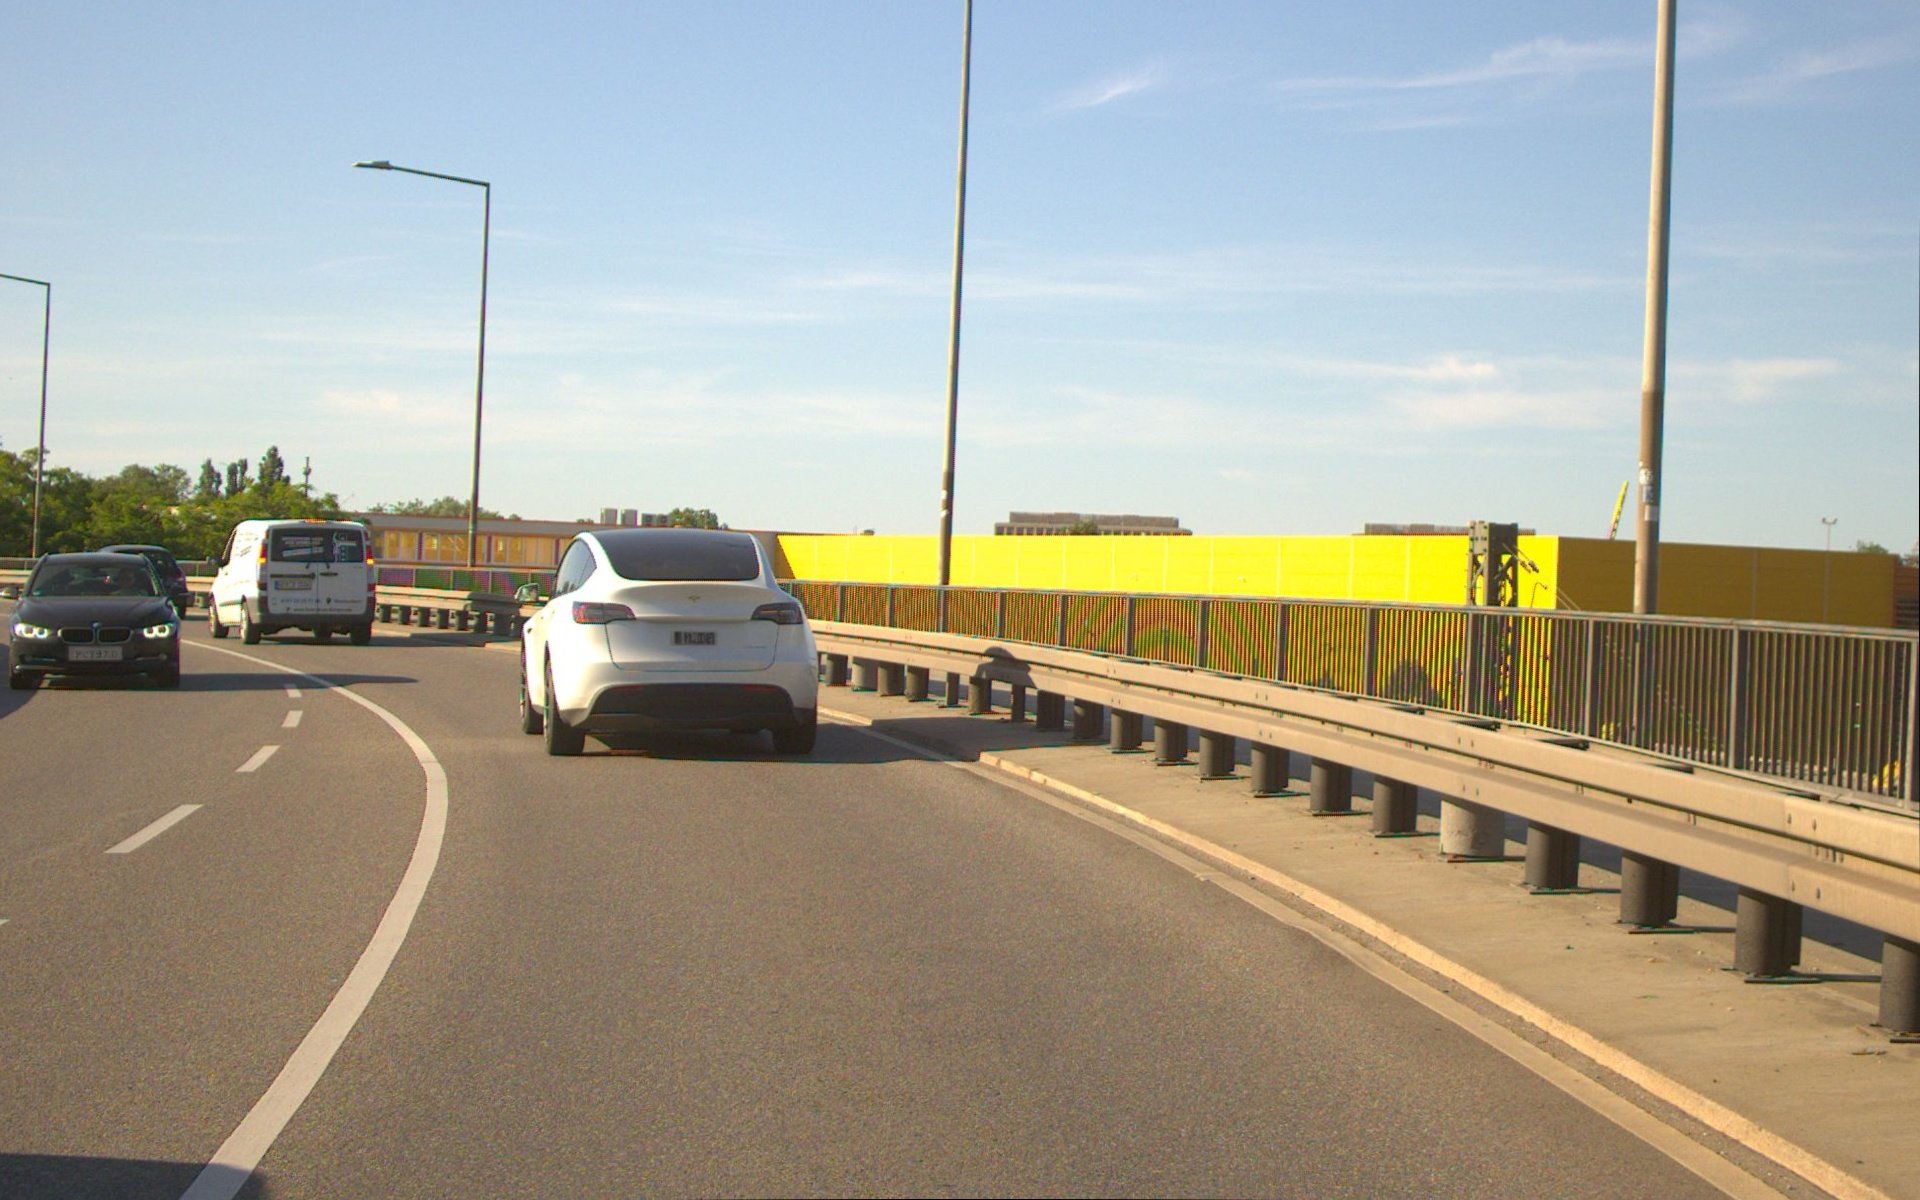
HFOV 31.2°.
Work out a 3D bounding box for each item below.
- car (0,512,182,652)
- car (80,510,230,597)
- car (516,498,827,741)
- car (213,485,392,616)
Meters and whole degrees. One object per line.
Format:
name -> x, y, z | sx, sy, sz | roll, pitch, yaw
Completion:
car -> -9.575, -0.240, 37.767 | 1.873, 1.434, 4.323 | 0, 1, -14
car -> -15.800, -0.927, 67.342 | 1.968, 1.632, 4.001 | -1, 1, -26
car -> -2.223, 0.087, 25.517 | 1.985, 1.632, 4.064 | -1, 1, -9
car -> -10.172, -0.786, 52.929 | 2.004, 1.934, 4.469 | 0, 1, -20
